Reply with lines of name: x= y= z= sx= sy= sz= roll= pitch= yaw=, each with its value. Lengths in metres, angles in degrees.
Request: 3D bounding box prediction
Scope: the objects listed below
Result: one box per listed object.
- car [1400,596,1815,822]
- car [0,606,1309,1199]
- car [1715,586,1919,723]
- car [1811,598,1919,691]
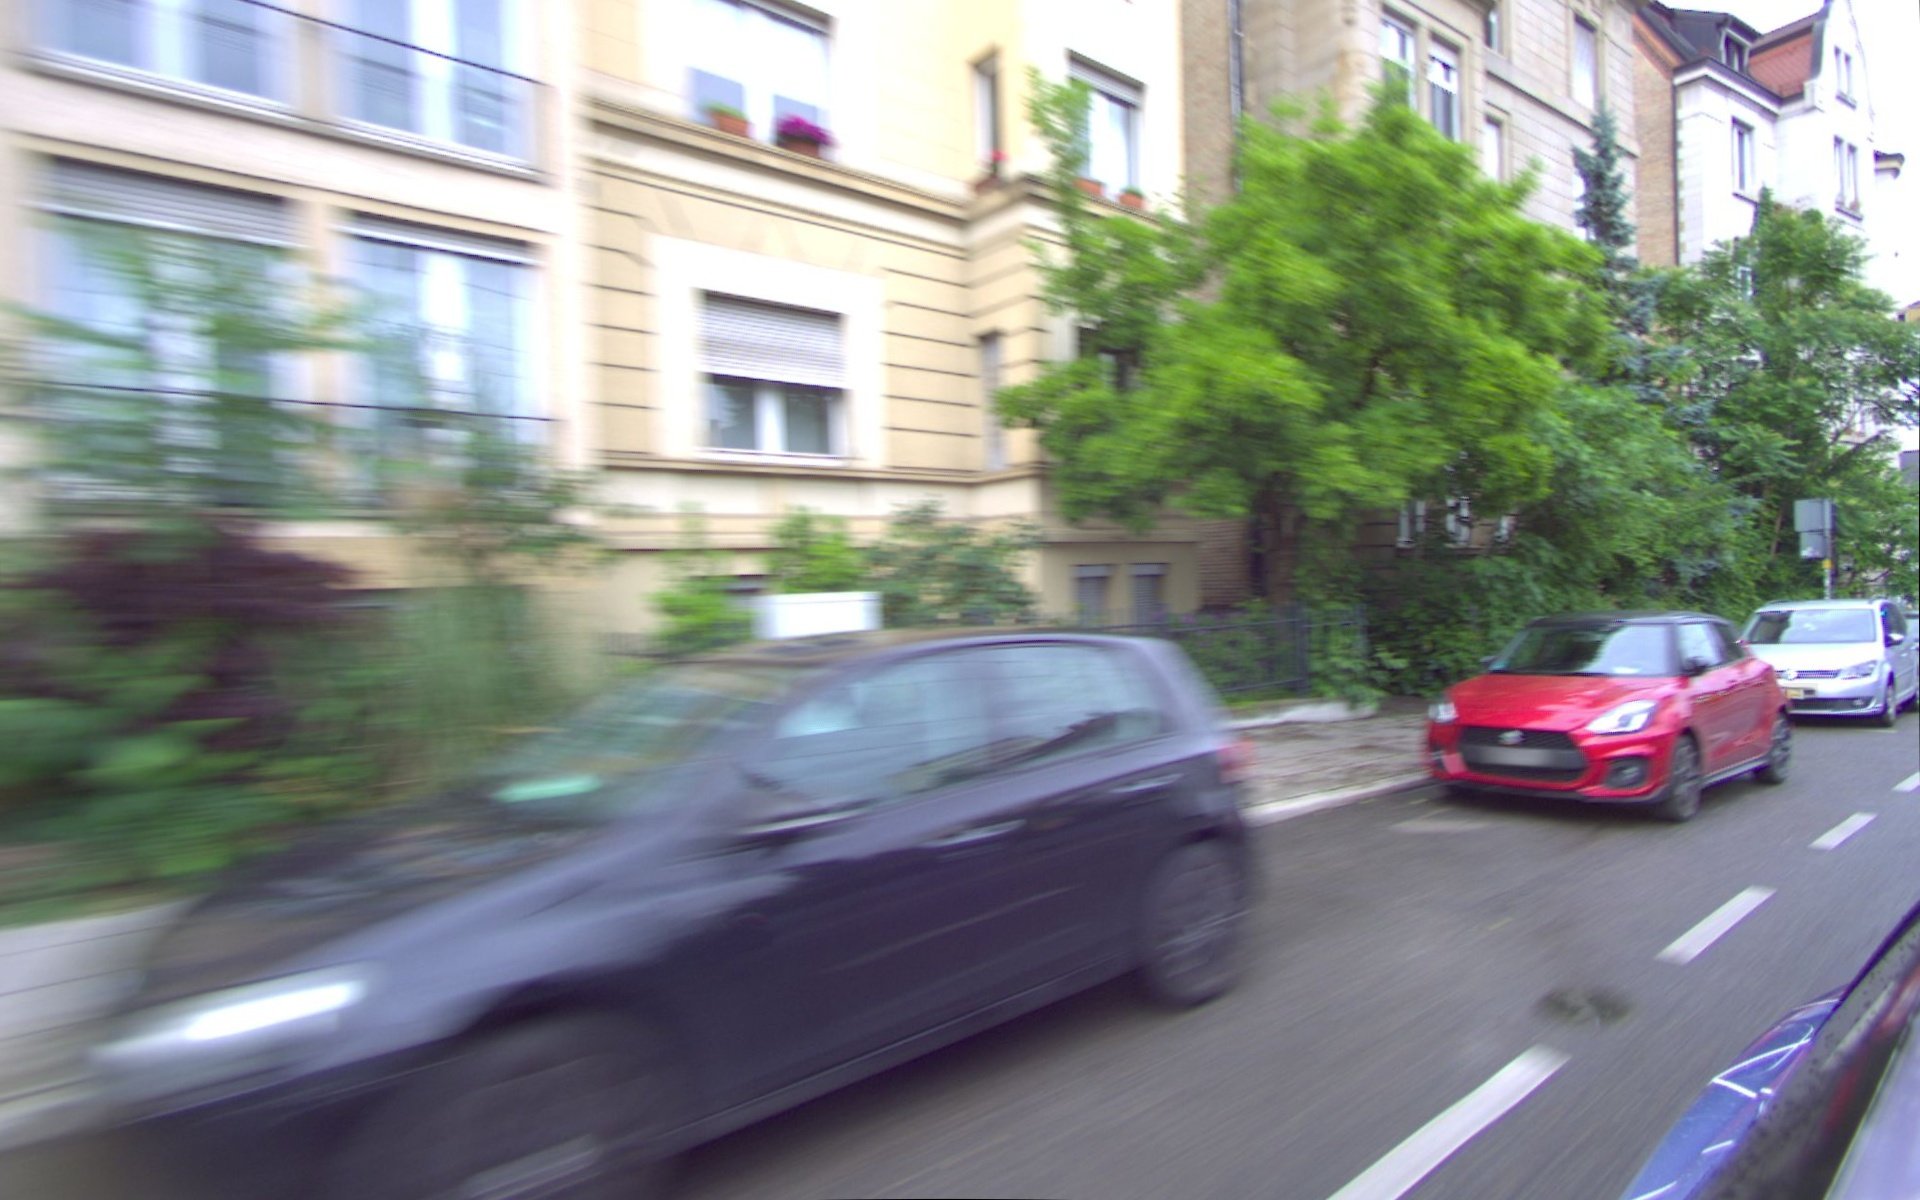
car: x=5.455 y=0.722 z=8.383 sx=3.771 sy=1.455 sz=1.726 roll=0 pitch=-1 yaw=-38
car: x=-0.600 y=0.767 z=3.581 sx=3.993 sy=1.455 sz=1.686 roll=0 pitch=-2 yaw=-41
car: x=12.114 y=0.622 z=14.015 sx=4.213 sy=1.624 sz=1.769 roll=0 pitch=1 yaw=-40
car: x=15.942 y=0.732 z=16.880 sx=3.924 sy=1.409 sz=1.770 roll=2 pitch=-2 yaw=-36
